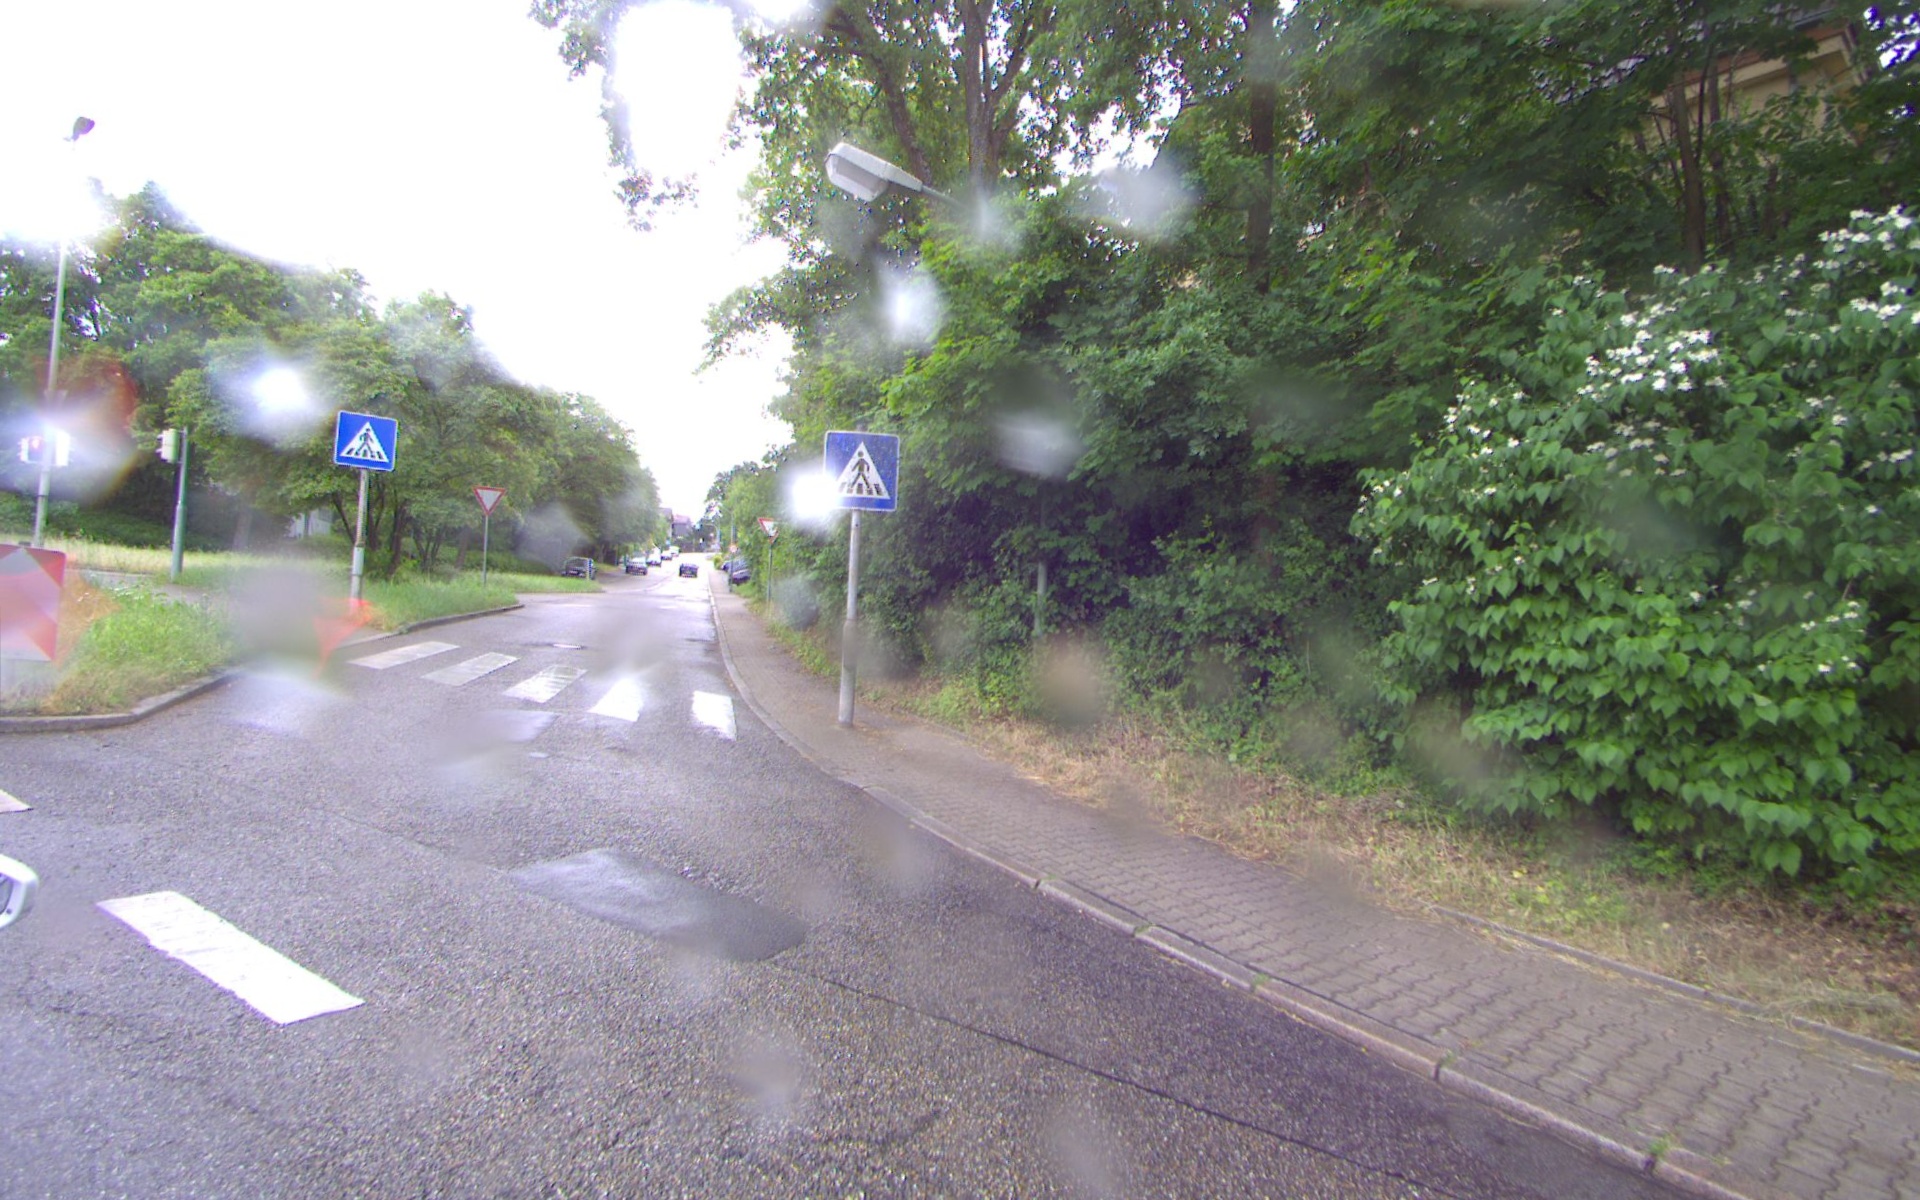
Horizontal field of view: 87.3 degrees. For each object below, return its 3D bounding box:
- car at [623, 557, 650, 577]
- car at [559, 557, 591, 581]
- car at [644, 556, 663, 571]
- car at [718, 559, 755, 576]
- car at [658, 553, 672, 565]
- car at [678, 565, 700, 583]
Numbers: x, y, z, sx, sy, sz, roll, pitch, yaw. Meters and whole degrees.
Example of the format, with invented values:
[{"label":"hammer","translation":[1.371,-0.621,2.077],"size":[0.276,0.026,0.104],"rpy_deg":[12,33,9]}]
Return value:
[{"label":"car","translation":[-30.112,-3.048,93.740],"size":[1.874,1.467,4.285],"rpy_deg":[7,-2,-13]},{"label":"car","translation":[-25.896,-2.100,67.744],"size":[1.651,1.387,3.477],"rpy_deg":[6,0,-16]},{"label":"car","translation":[-37.715,-4.461,123.654],"size":[1.968,1.463,4.278],"rpy_deg":[7,-2,-19]},{"label":"car","translation":[-25.777,-3.721,116.101],"size":[3.939,1.594,1.766],"rpy_deg":[5,1,-18]},{"label":"car","translation":[-46.779,-6.490,159.518],"size":[1.877,1.413,4.151],"rpy_deg":[7,-2,-20]},{"label":"car","translation":[-27.032,-2.631,100.457],"size":[1.789,1.461,4.148],"rpy_deg":[6,1,-14]}]
